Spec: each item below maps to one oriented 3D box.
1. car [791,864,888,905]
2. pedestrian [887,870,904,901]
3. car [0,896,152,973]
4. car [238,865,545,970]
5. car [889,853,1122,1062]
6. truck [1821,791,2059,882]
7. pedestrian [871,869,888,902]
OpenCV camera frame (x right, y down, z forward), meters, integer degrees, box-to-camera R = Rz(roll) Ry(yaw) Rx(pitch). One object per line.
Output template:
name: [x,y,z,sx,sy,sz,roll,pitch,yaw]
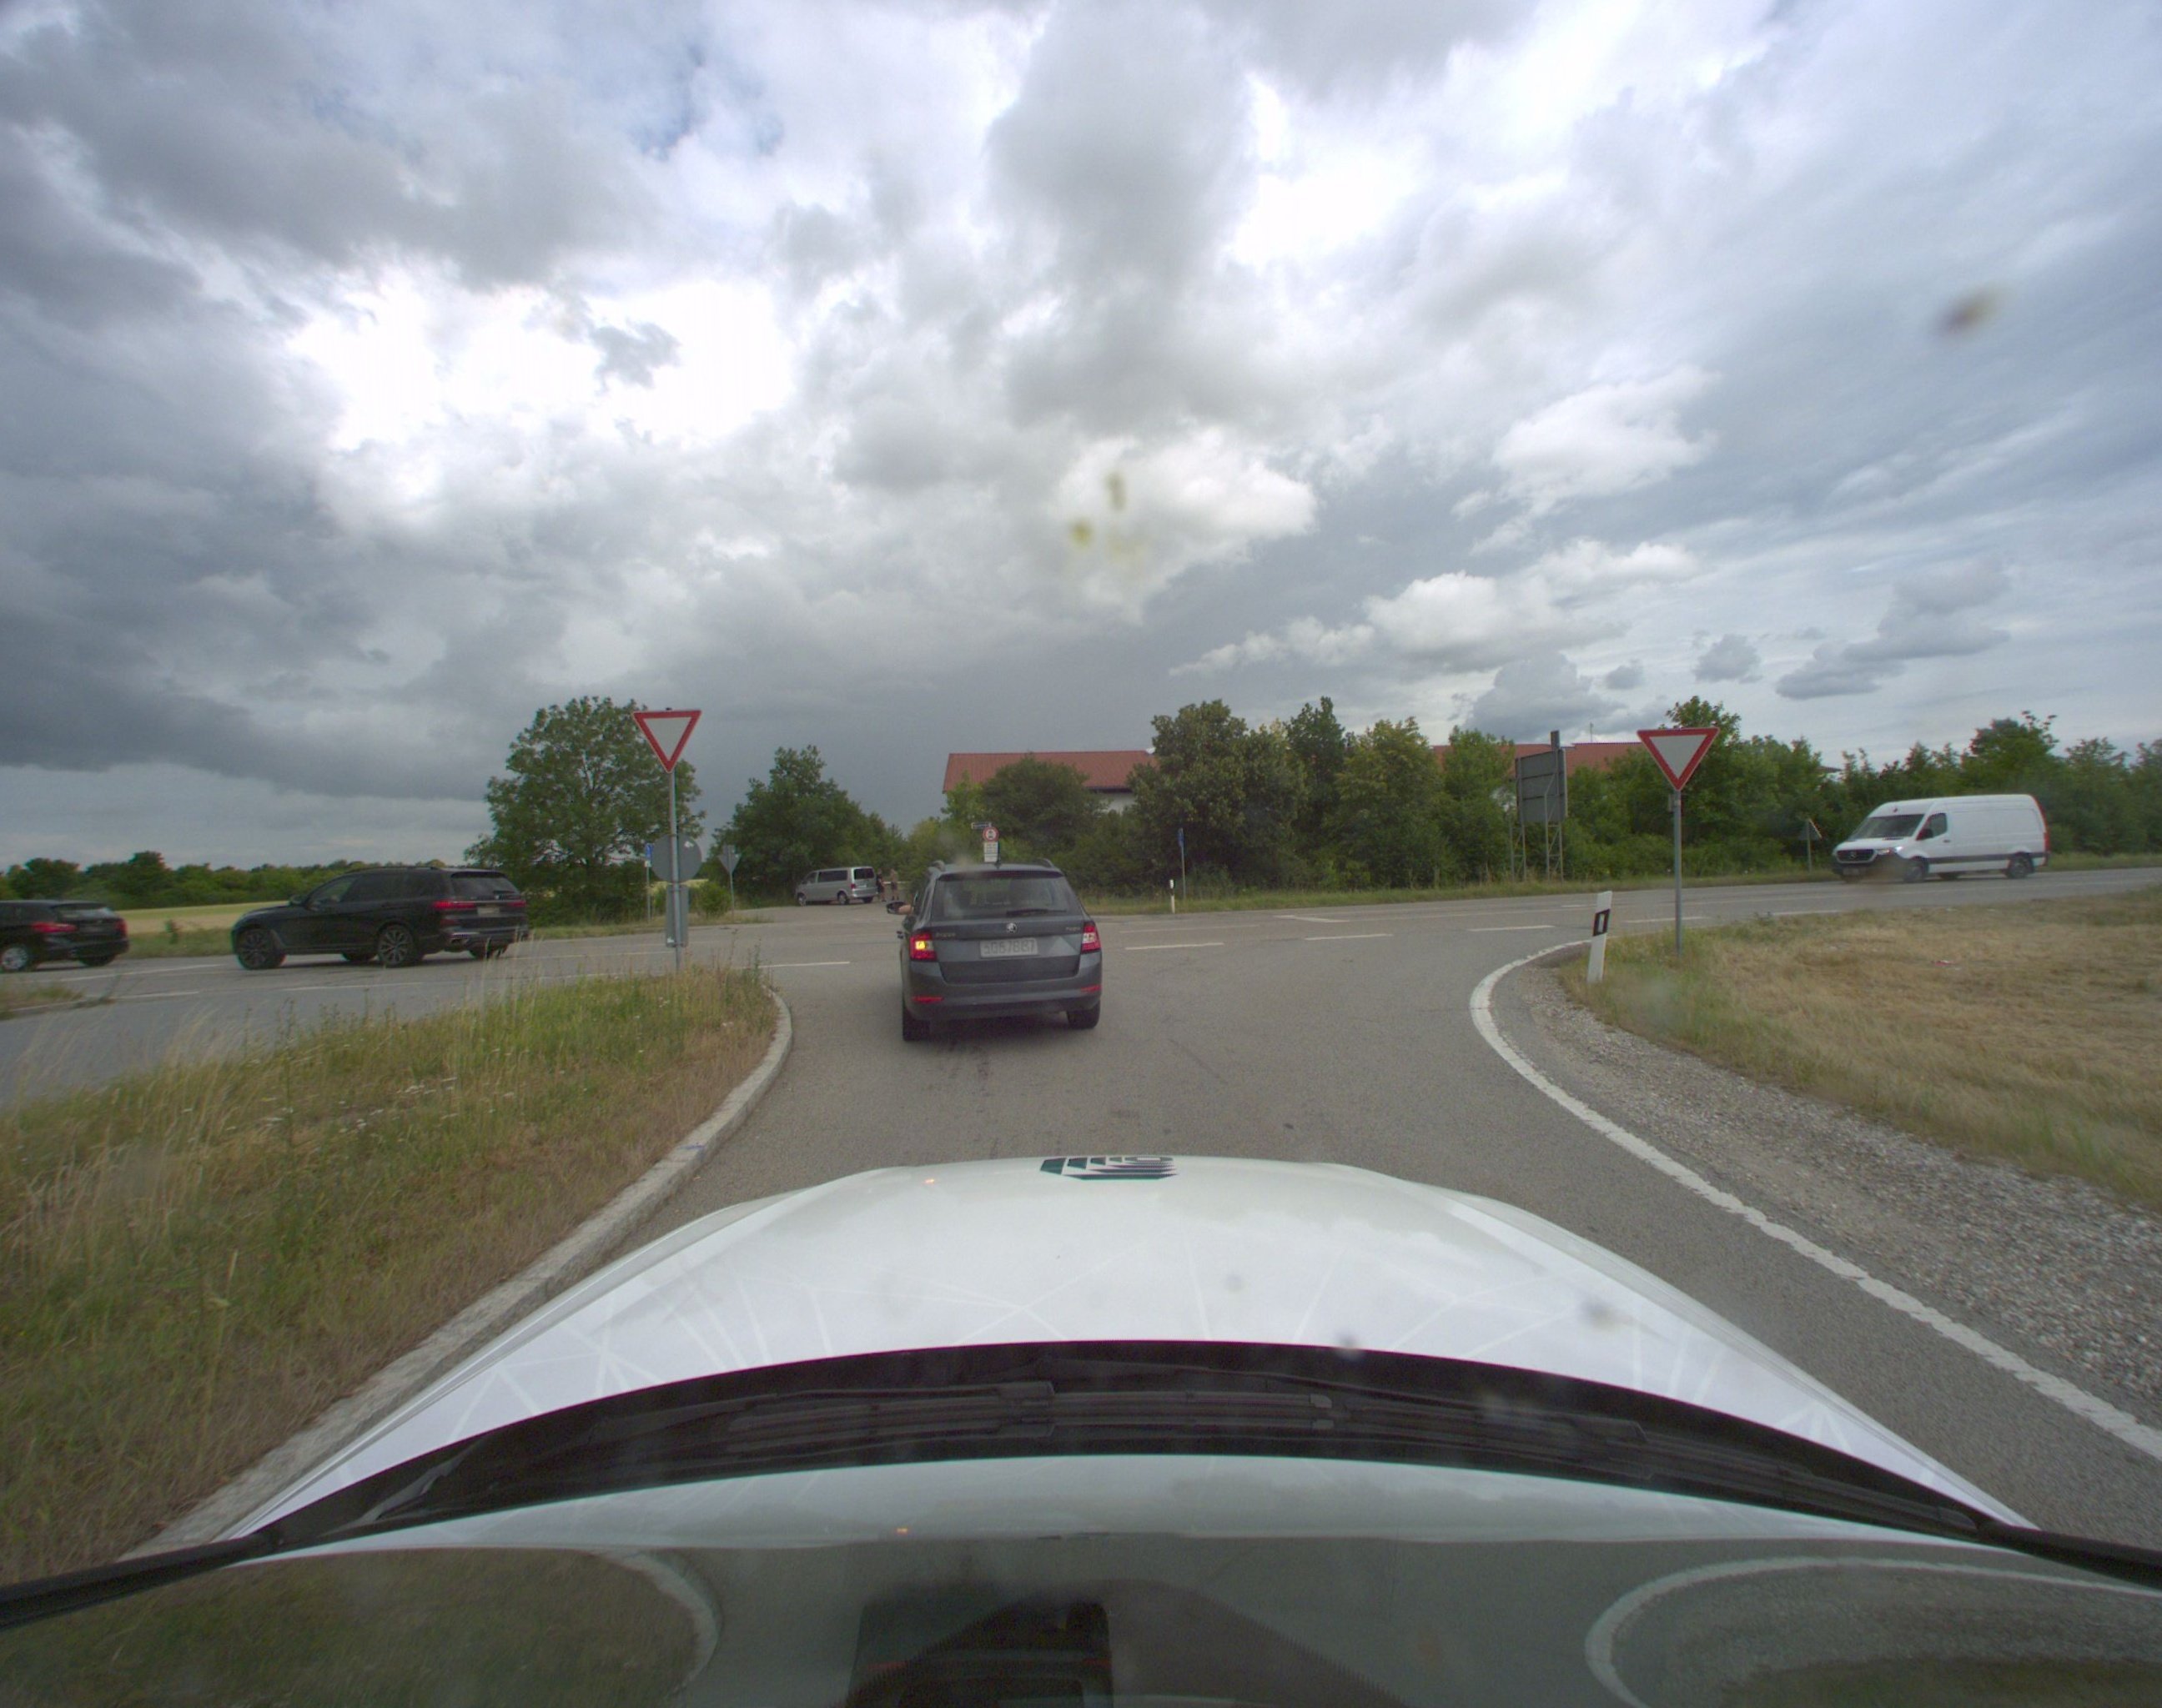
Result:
car: [-13.156,1.655,44.262,4.851,2.013,2.357,-2,1,32]
pedestrian: [-10.380,1.748,45.574,0.578,1.682,0.569,-3,0,19]
car: [-23.954,1.829,17.934,4.285,1.487,1.994,-3,-1,-8]
car: [-13.102,1.175,15.603,4.599,1.774,2.006,-2,-1,11]
car: [-0.949,0.741,7.833,1.679,1.462,3.690,-1,0,-14]
truck: [26.888,-0.524,25.568,5.993,2.576,1.994,-2,-2,-9]
pedestrian: [-10.832,1.713,43.843,0.523,1.725,0.646,-2,1,31]
